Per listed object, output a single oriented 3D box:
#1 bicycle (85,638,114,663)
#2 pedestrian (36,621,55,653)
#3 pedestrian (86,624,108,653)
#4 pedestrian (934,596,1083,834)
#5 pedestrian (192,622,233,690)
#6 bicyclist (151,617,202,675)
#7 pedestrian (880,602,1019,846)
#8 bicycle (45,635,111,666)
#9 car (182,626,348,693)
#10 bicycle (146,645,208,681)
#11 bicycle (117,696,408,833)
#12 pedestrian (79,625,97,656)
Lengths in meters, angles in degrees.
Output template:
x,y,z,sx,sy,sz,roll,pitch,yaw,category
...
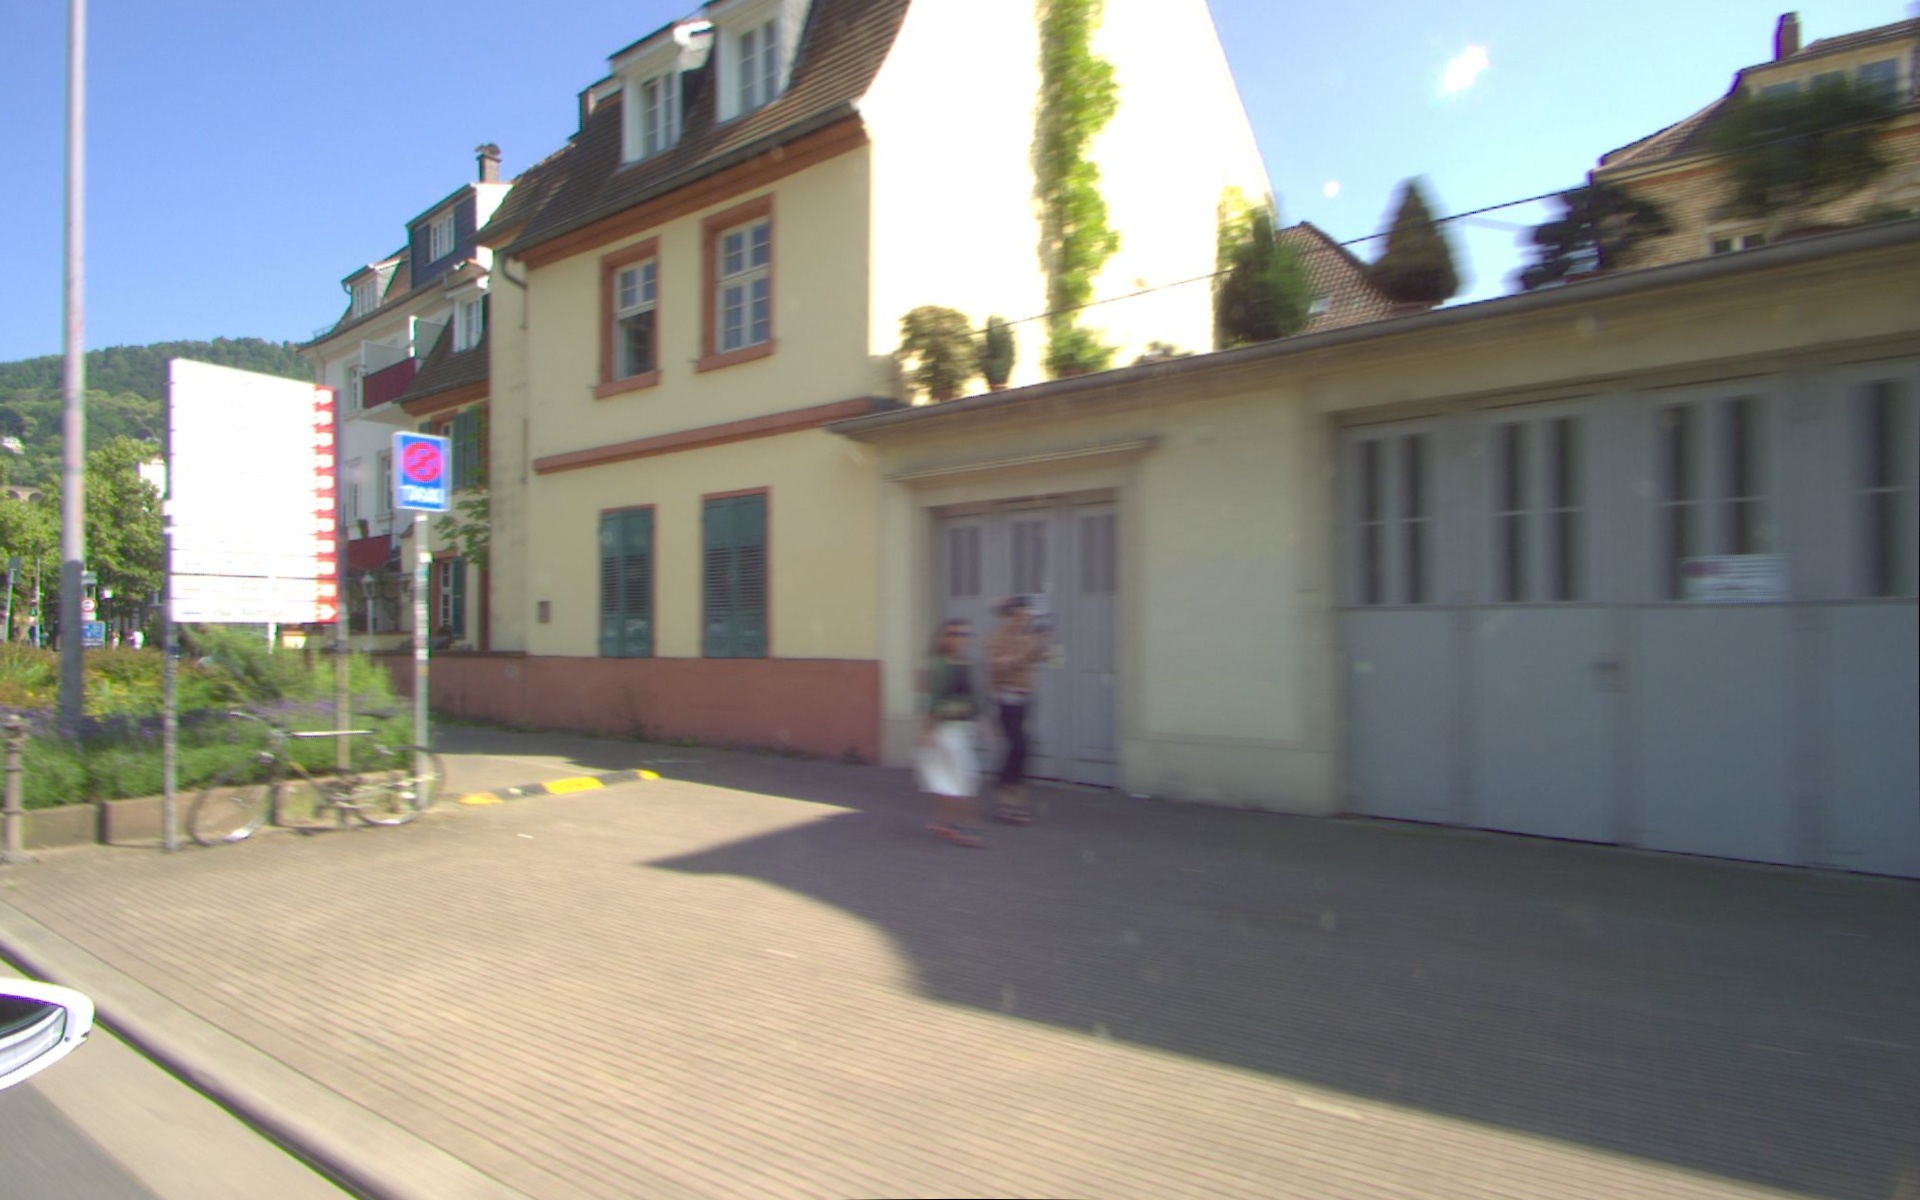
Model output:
x,y,z,sx,sy,sz,roll,pitch,yaw,category
-37.392,2.197,43.528,0.587,1.081,2.056,0,-3,-30,bicycle
-49.549,2.006,54.241,0.699,1.674,0.704,-1,-1,41,pedestrian
-42.156,1.900,48.927,0.534,1.399,0.625,-1,-3,33,pedestrian
0.382,0.845,7.822,0.920,1.720,0.736,-1,-1,33,pedestrian
-21.091,1.562,28.258,0.601,1.882,0.760,0,1,33,pedestrian
-21.991,1.282,28.109,1.073,1.604,0.766,-1,-1,30,bicyclist
-0.061,0.840,7.142,0.686,1.615,0.760,-1,-2,33,pedestrian
-36.776,2.123,41.795,1.982,1.213,0.518,4,-3,-38,bicycle
-18.080,1.494,25.981,4.660,1.597,1.874,-1,-2,32,car
-21.949,1.762,28.075,1.755,0.976,0.749,-1,-2,29,bicycle
-5.357,1.222,7.830,0.494,0.889,1.809,0,-3,29,bicycle
-42.568,1.982,48.899,0.681,1.536,0.458,-1,-2,33,pedestrian
